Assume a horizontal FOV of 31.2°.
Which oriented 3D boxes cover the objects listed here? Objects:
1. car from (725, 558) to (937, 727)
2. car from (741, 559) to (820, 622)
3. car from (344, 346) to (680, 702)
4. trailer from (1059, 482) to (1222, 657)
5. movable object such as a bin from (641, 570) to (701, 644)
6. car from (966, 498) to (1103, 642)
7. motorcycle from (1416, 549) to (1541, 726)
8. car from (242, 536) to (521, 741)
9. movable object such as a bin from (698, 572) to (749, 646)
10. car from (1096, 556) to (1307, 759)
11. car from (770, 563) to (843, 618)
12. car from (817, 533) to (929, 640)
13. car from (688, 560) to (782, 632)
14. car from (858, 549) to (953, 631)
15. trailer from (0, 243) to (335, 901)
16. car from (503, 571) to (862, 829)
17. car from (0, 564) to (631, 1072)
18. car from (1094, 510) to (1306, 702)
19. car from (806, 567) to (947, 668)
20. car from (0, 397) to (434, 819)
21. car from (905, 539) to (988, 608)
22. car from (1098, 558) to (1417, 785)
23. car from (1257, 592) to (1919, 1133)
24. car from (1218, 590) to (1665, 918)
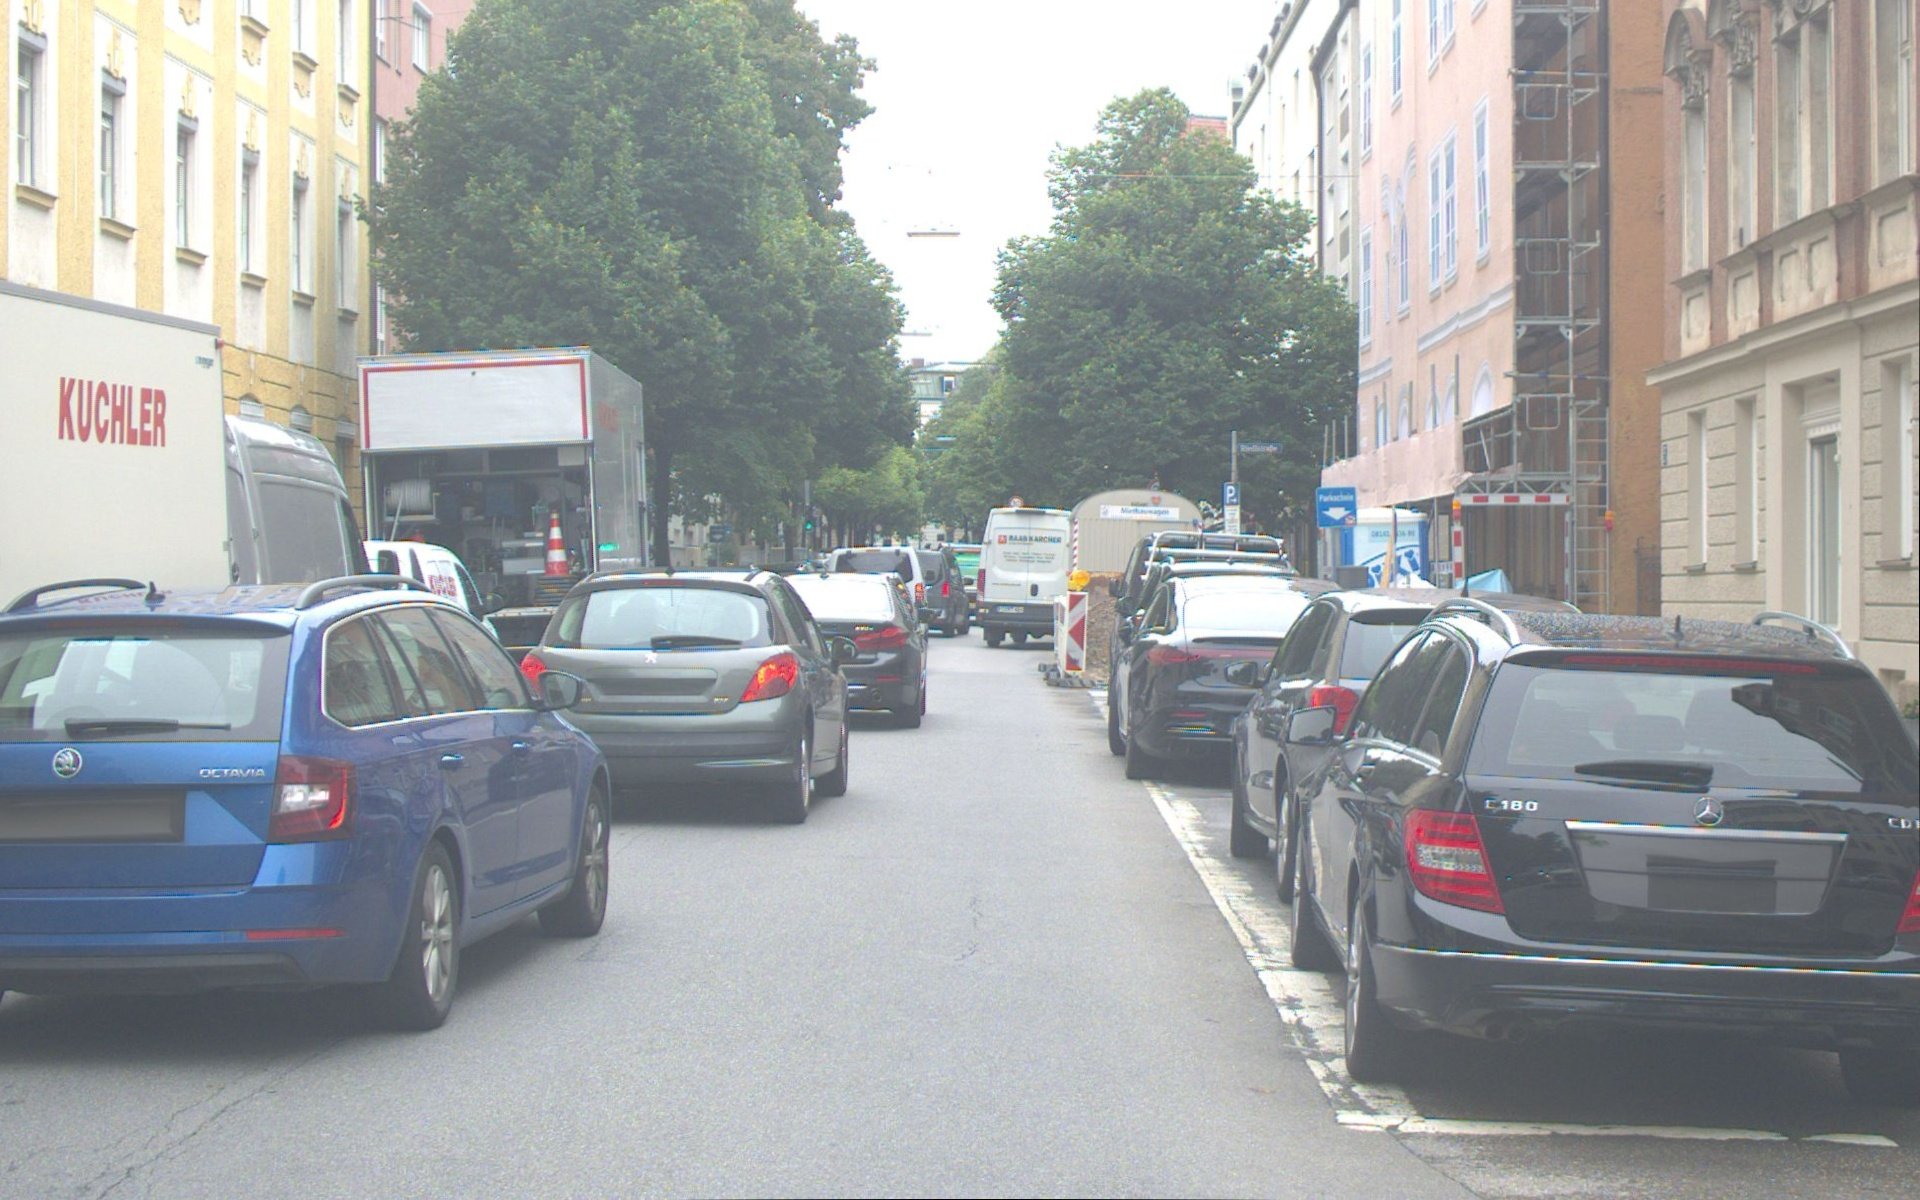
[{"bbox_3d":[-1.179,0.358,33.151,1.867,1.449,4.347,1,1,0],"label":"car"},{"bbox_3d":[-4.391,-0.254,84.677,1.812,1.473,4.000,1,1,-1],"label":"car"},{"bbox_3d":[-5.149,-0.841,41.145,2.812,3.804,8.723,0,0,0],"label":"car"},{"bbox_3d":[3.071,-0.512,60.114,2.502,2.830,6.901,1,0,1],"label":"trailer"},{"bbox_3d":[-5.547,0.134,66.058,1.081,1.372,1.084,-2,1,-3],"label":"movable object such as a bin"},{"bbox_3d":[1.503,-0.560,67.233,2.113,2.654,5.498,1,0,7],"label":"car"},{"bbox_3d":[4.554,0.313,30.312,0.871,1.499,1.997,0,0,3],"label":"motorcycle"},{"bbox_3d":[-5.437,0.326,32.810,1.763,1.773,4.326,-2,0,2],"label":"car"},{"bbox_3d":[-4.550,0.167,66.128,0.918,1.372,1.080,-2,1,-3],"label":"movable object such as a bin"},{"bbox_3d":[2.177,0.492,31.946,1.694,1.671,4.407,3,0,2],"label":"car"},{"bbox_3d":[-4.307,-0.281,96.720,1.812,1.473,4.000,1,1,1],"label":"car"},{"bbox_3d":[-1.572,-0.277,63.365,1.867,1.863,4.347,1,1,1],"label":"car"},{"bbox_3d":[-4.812,-0.113,73.950,1.812,1.473,4.000,1,1,-1],"label":"car"},{"bbox_3d":[-1.135,-0.243,73.336,1.867,1.647,4.347,1,1,1],"label":"car"},{"bbox_3d":[-5.603,-0.128,17.884,2.804,2.959,7.599,-3,1,3],"label":"trailer"},{"bbox_3d":[-1.586,0.544,20.824,1.741,1.417,3.664,0,0,2],"label":"car"},{"bbox_3d":[-2.427,0.613,12.073,1.789,1.455,4.314,0,0,5],"label":"car"},{"bbox_3d":[2.569,0.137,37.955,2.082,1.914,5.140,1,-2,2],"label":"car"},{"bbox_3d":[-1.182,0.226,50.508,1.867,1.343,4.347,1,1,1],"label":"car"},{"bbox_3d":[-5.543,0.026,25.386,2.056,2.578,6.877,-4,1,0],"label":"car"},{"bbox_3d":[-0.330,-0.693,87.153,2.008,1.647,4.347,1,1,0],"label":"car"},{"bbox_3d":[2.169,0.461,26.557,1.931,1.548,5.637,1,1,0],"label":"car"},{"bbox_3d":[2.094,0.695,11.558,1.847,1.400,4.788,0,0,1],"label":"car"},{"bbox_3d":[2.215,0.653,16.773,1.572,1.390,4.183,0,0,0],"label":"car"}]
